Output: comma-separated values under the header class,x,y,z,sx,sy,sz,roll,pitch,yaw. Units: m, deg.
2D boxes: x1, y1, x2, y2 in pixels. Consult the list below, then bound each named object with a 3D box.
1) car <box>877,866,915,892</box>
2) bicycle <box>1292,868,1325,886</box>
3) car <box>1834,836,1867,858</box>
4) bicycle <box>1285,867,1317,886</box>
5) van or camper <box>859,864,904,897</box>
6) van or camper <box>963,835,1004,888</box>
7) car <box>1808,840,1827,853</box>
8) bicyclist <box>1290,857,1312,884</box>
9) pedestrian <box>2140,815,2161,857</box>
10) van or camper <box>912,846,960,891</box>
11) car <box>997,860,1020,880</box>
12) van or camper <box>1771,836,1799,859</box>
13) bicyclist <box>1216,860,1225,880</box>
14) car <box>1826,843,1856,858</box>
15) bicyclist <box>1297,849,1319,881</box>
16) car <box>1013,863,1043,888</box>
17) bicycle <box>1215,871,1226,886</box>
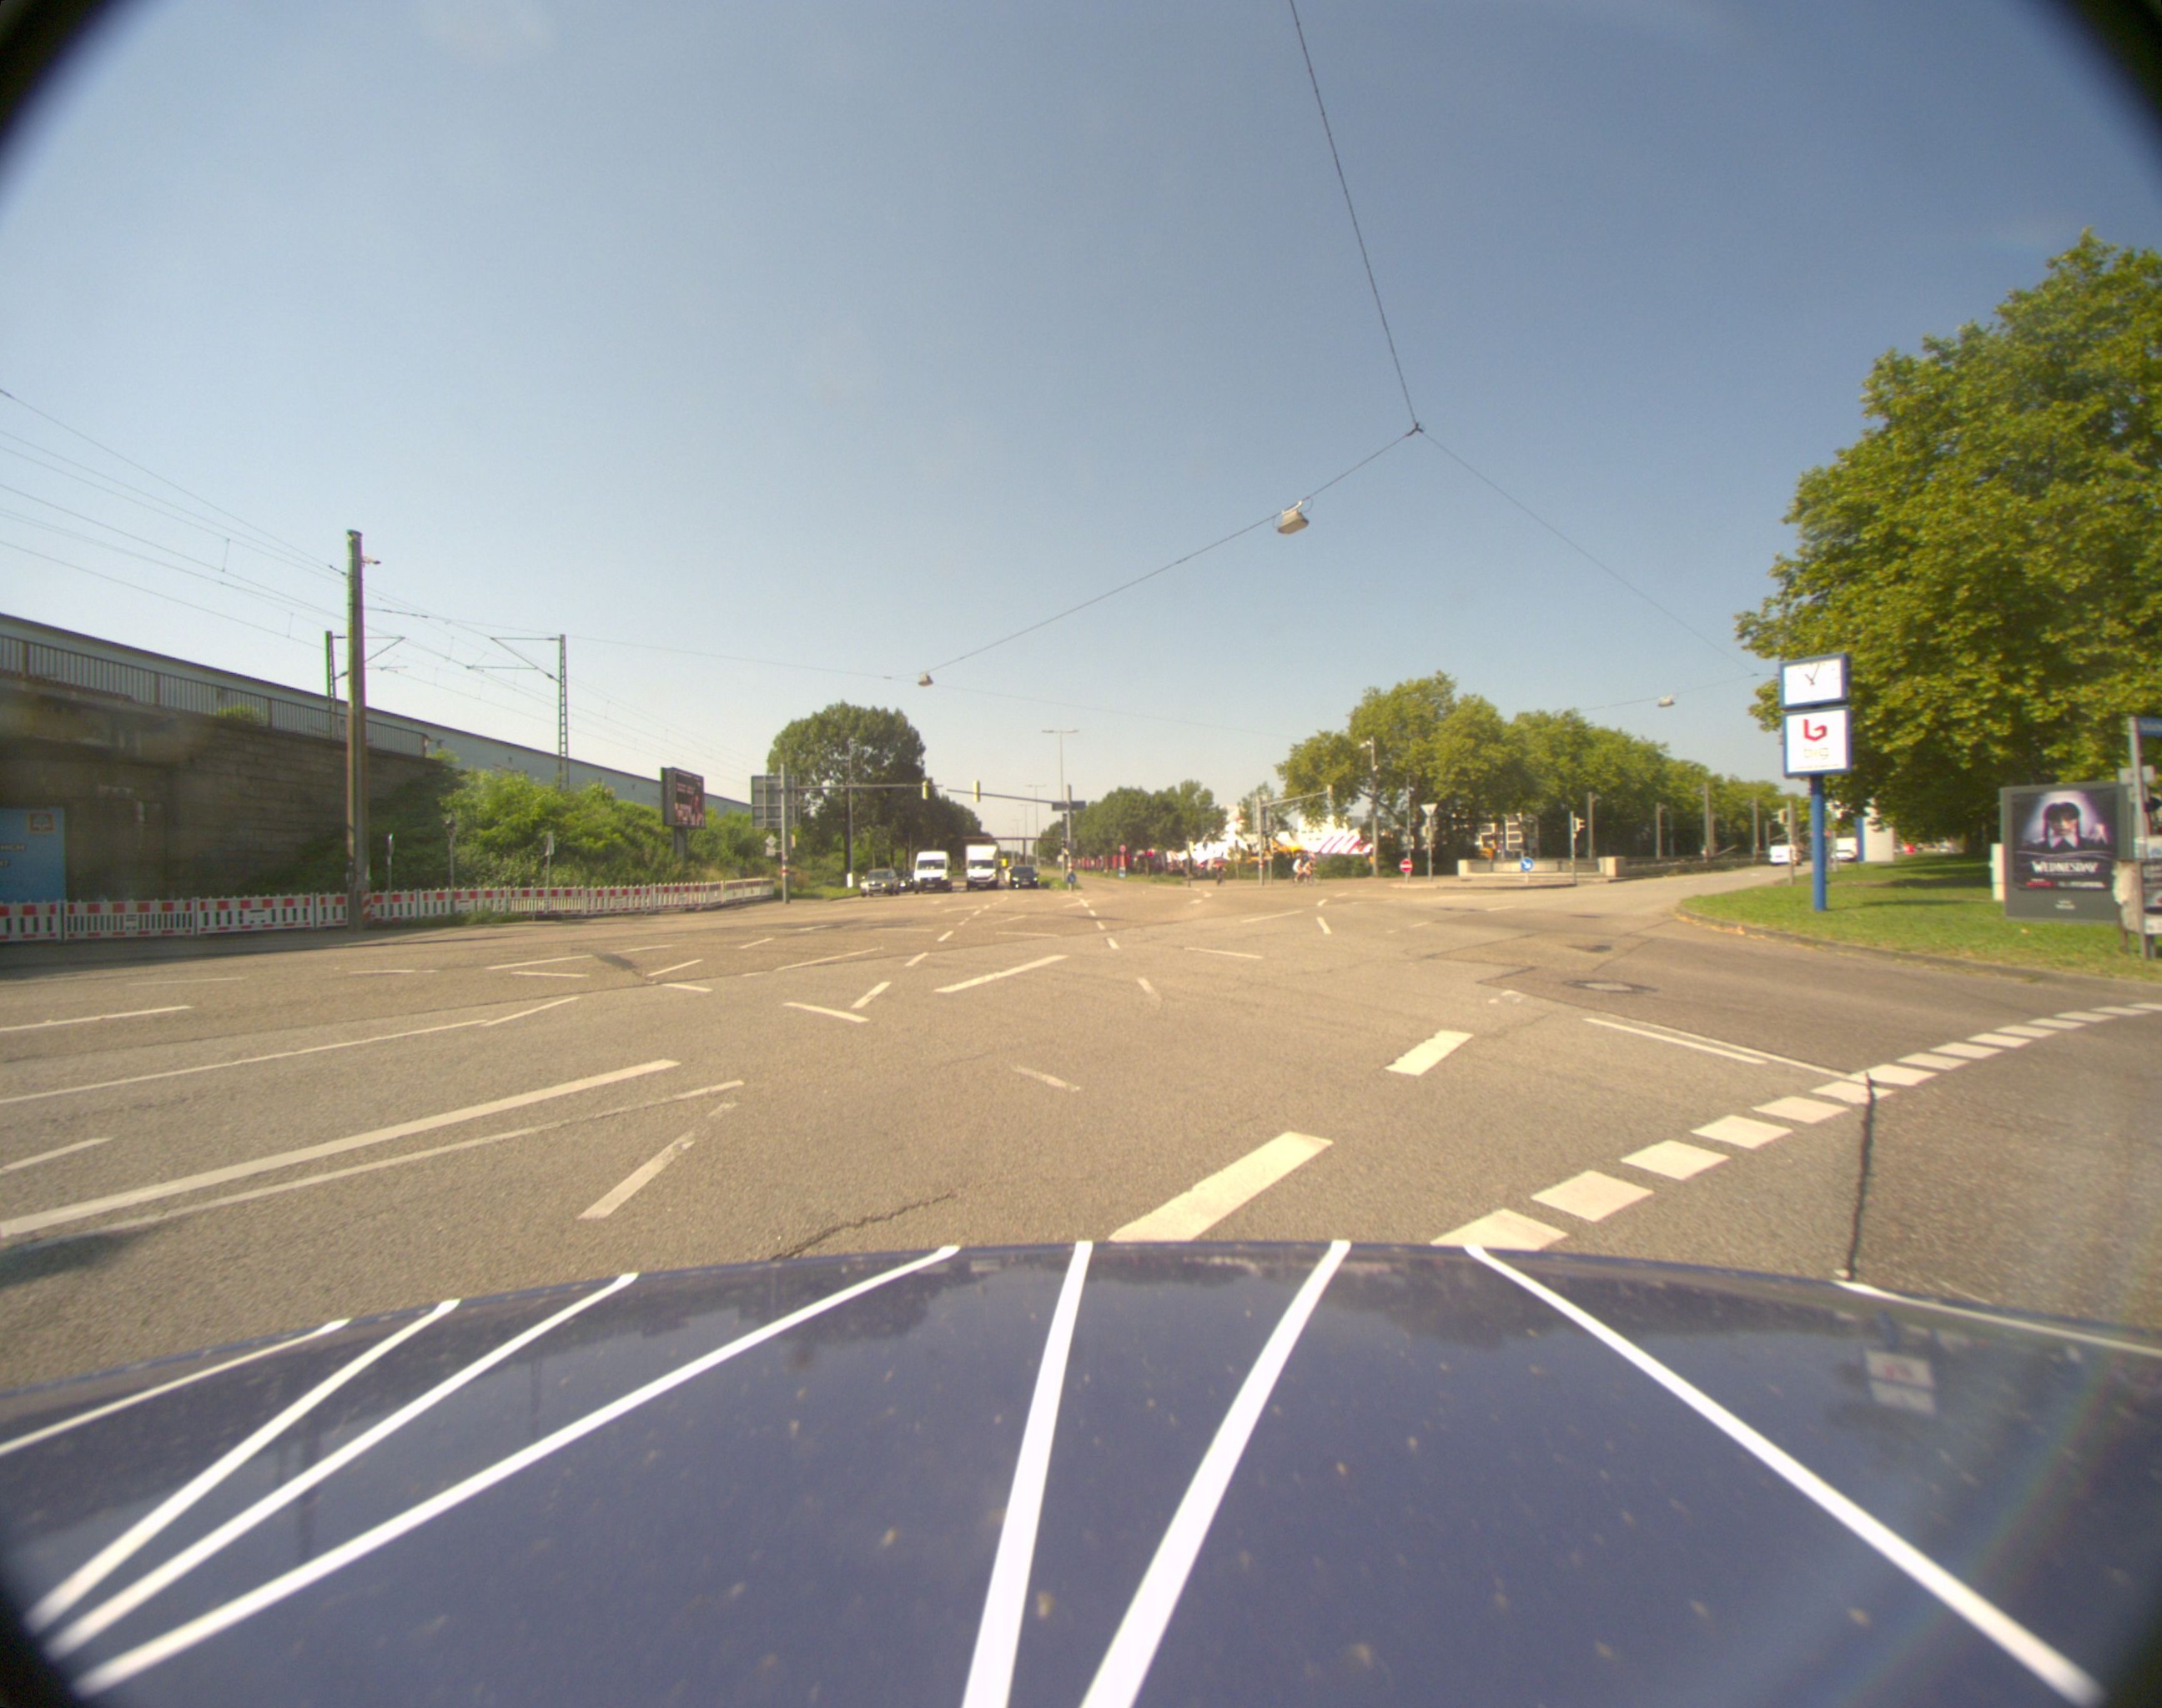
class,x,y,z,sx,sy,sz,roll,pitch,yaw
car,-12.365,1.662,50.931,2.000,1.543,3.997,-3,0,-8
bicycle,14.536,1.495,48.637,0.774,1.080,2.259,1,-3,-24
car,83.910,-0.776,82.862,4.665,2.219,2.287,-1,-3,-43
bicycle,13.407,1.357,46.330,0.773,1.080,2.218,-2,-2,-17
van or camper,-11.595,1.575,44.471,1.851,1.765,4.174,-3,-2,-6
van or camper,-6.652,0.635,52.475,2.249,3.341,6.851,-3,-2,-4
car,119.324,-1.241,123.174,1.995,2.001,4.008,-5,-3,43
bicyclist,13.397,1.029,46.262,0.598,1.584,1.203,-3,-2,-18
pedestrian,51.932,-0.876,36.535,1.351,2.001,0.947,-1,-3,-40
van or camper,-9.008,1.011,47.747,2.249,2.467,6.865,-3,-2,-6
car,-6.464,1.474,67.882,1.656,1.654,3.756,-3,-2,-1
van or camper,65.908,-0.621,71.132,1.842,1.936,4.957,-1,1,44
bicyclist,9.834,1.138,53.662,0.502,1.356,0.697,-4,-2,16
car,79.652,-0.390,79.618,4.008,1.444,1.995,-1,-3,-43
bicyclist,14.491,0.701,48.605,0.598,2.001,1.203,-2,-2,-23
car,-3.734,1.549,53.414,1.905,1.603,5.196,-3,-2,-4
bicycle,9.832,1.707,53.516,0.572,1.049,1.496,-3,-2,15
